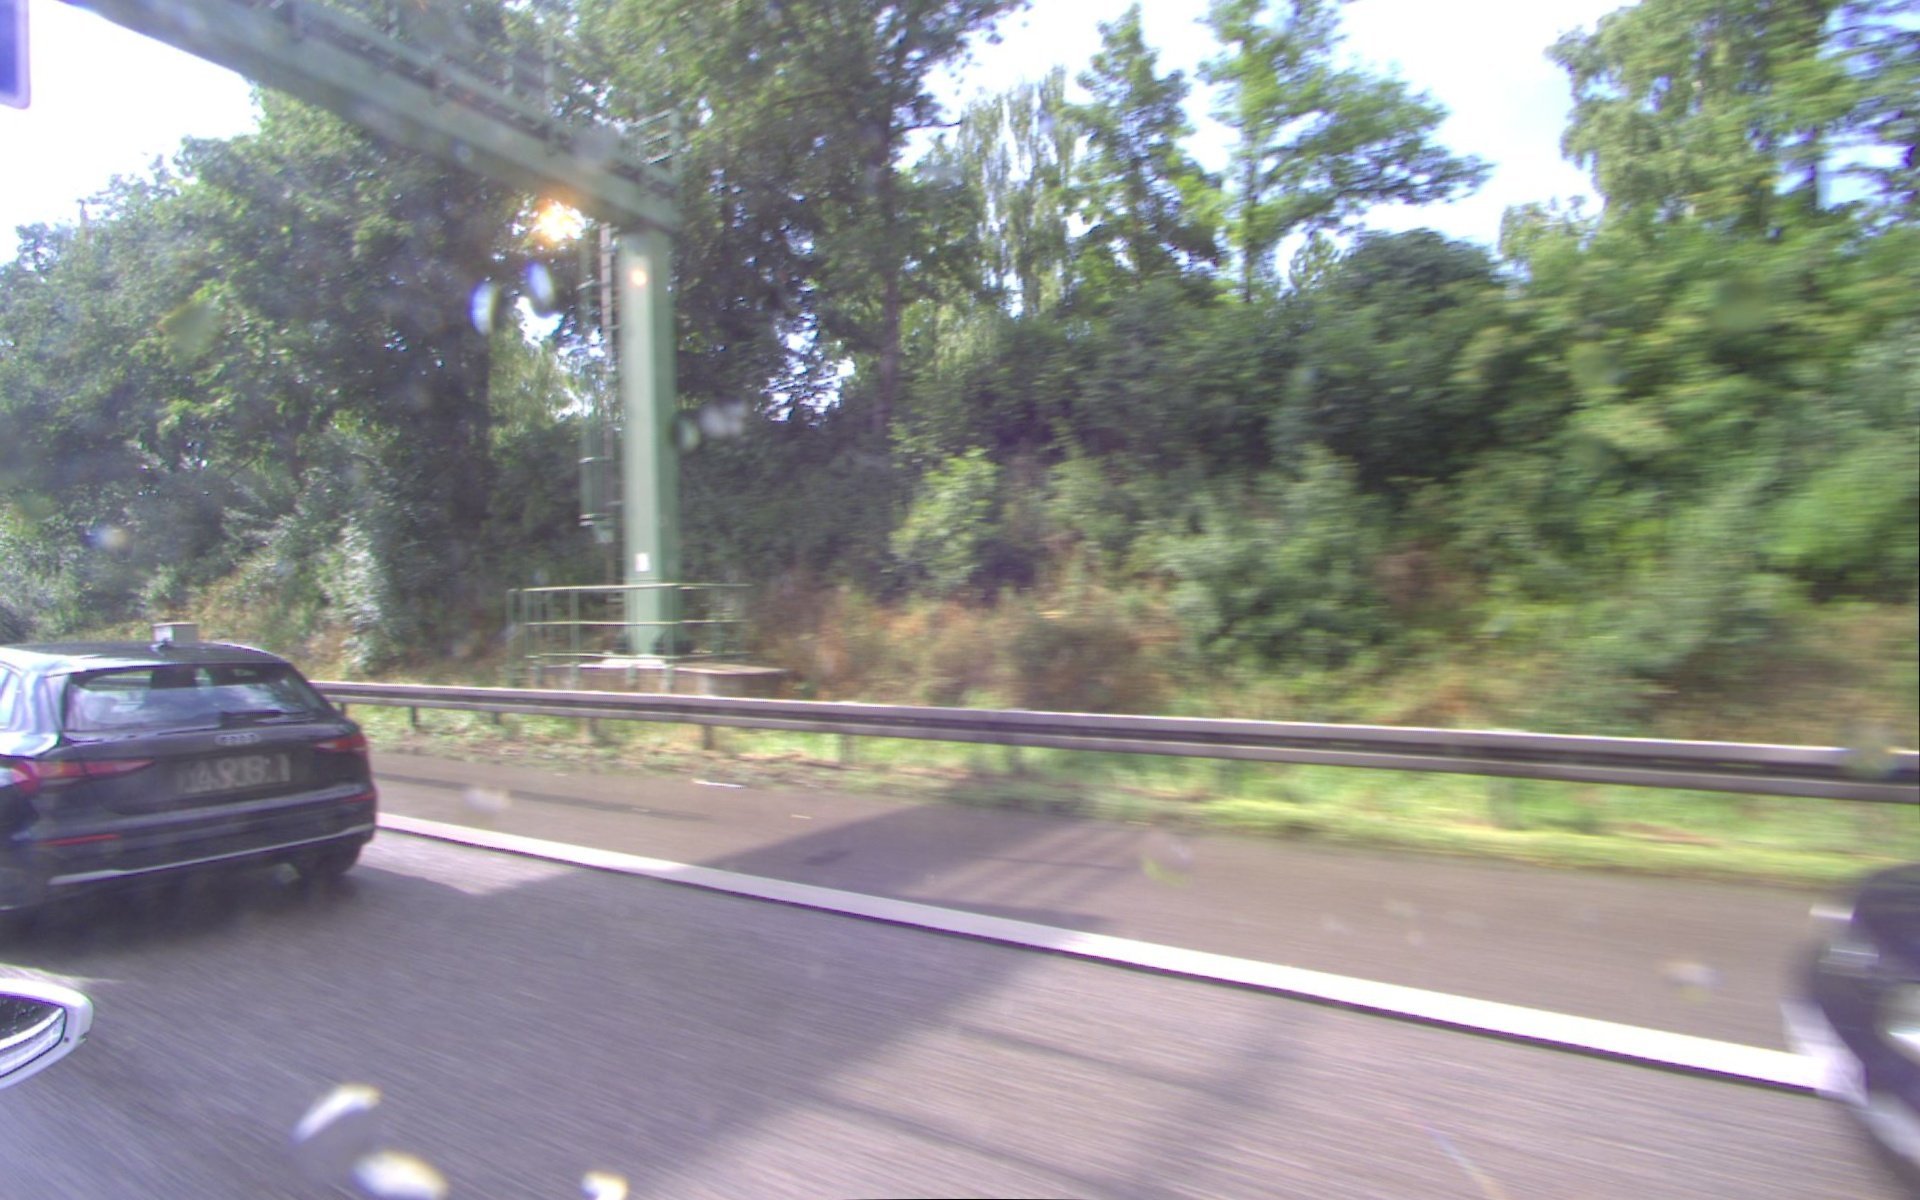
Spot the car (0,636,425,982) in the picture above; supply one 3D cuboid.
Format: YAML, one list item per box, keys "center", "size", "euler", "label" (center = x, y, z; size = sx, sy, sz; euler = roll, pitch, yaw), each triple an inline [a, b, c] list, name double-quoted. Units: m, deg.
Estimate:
- center: [-5.291, 0.932, 6.031]
  size: [4.305, 1.414, 1.752]
  euler: [-1, -2, 32]
  label: "car"

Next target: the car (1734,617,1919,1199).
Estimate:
- center: [3.708, 0.751, 1.608]
  size: [3.689, 1.475, 1.648]
  euler: [-1, -1, 31]
  label: "car"
